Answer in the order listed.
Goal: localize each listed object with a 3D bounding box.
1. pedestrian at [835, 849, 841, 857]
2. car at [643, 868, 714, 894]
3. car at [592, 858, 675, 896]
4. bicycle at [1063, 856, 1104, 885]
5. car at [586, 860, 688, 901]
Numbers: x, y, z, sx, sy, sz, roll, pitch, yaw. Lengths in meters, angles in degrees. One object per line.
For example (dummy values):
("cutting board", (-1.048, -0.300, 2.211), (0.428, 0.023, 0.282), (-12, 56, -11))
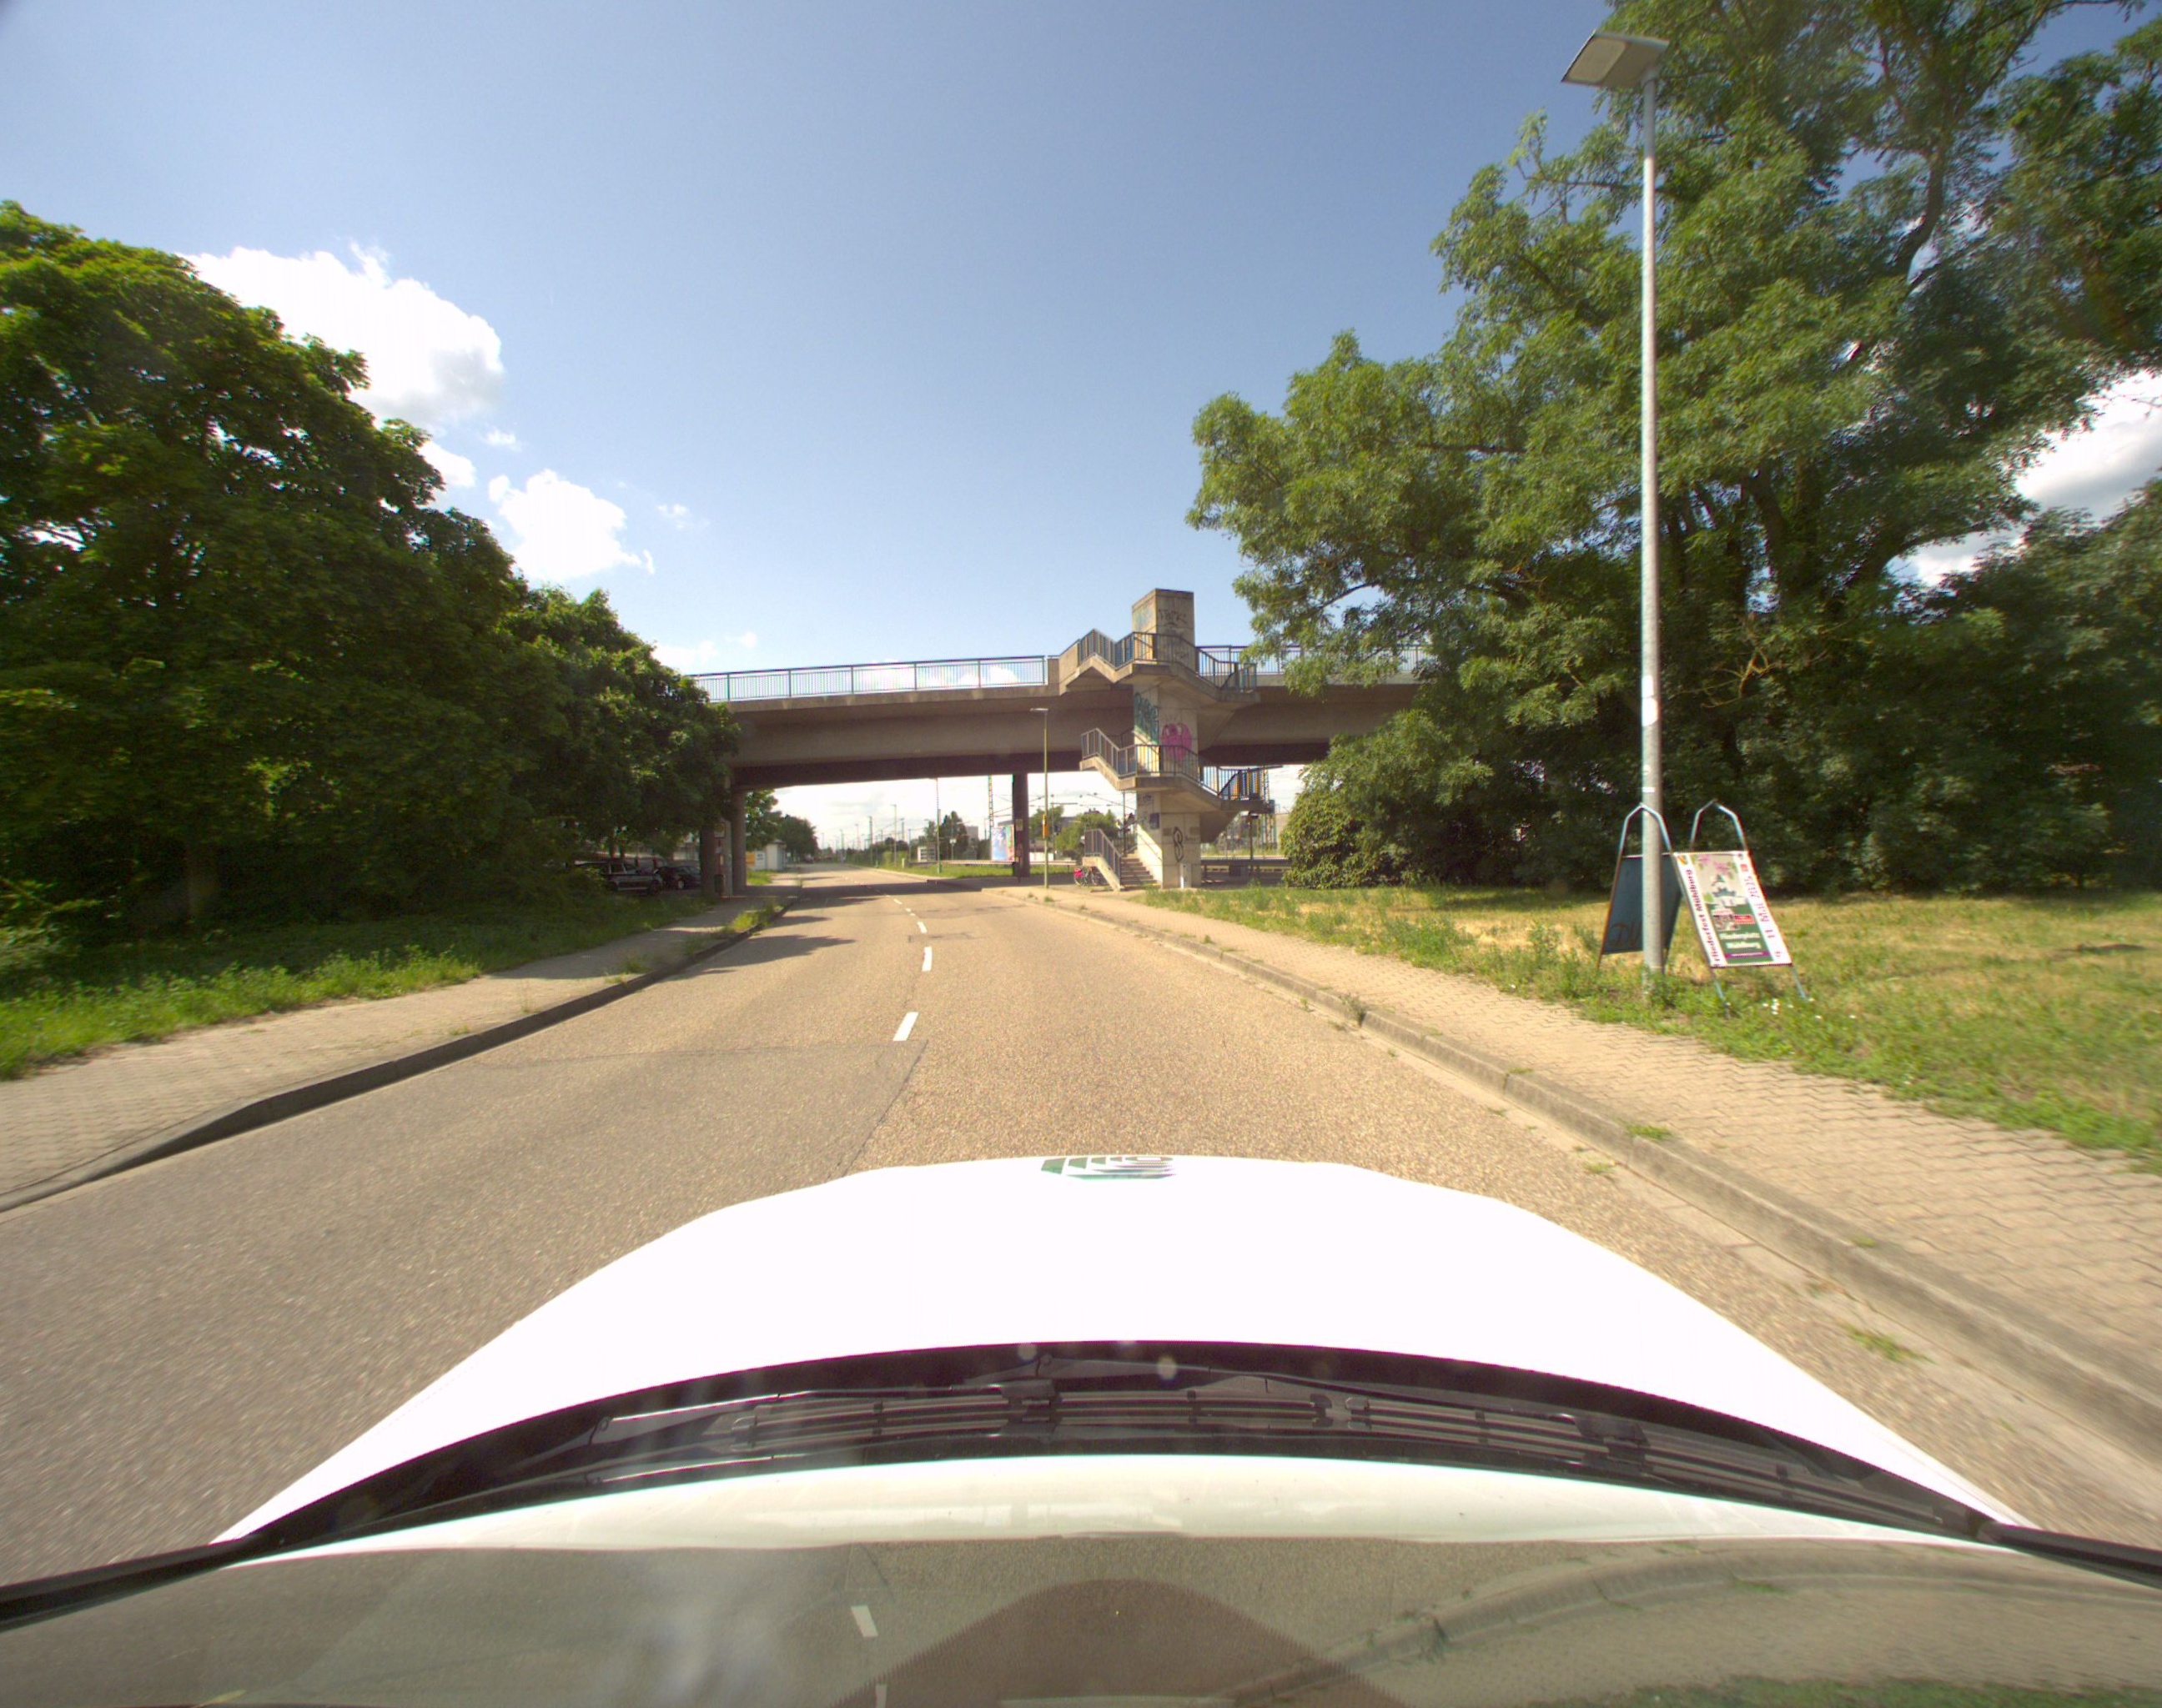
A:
("pedestrian", (-61.783, -0.336, 206.899), (0.840, 2.013, 1.067), (0, 0, 31))
("car", (-23.392, 1.555, 47.470), (1.674, 1.284, 3.467), (-2, 0, 18))
("car", (-26.333, 1.307, 48.094), (1.925, 2.013, 3.977), (-2, 0, 19))
("bicycle", (0.071, 0.670, 32.806), (0.646, 1.108, 2.171), (-3, 0, -28))
("car", (-20.546, 1.197, 37.932), (1.669, 1.629, 4.585), (-2, 0, 8))
